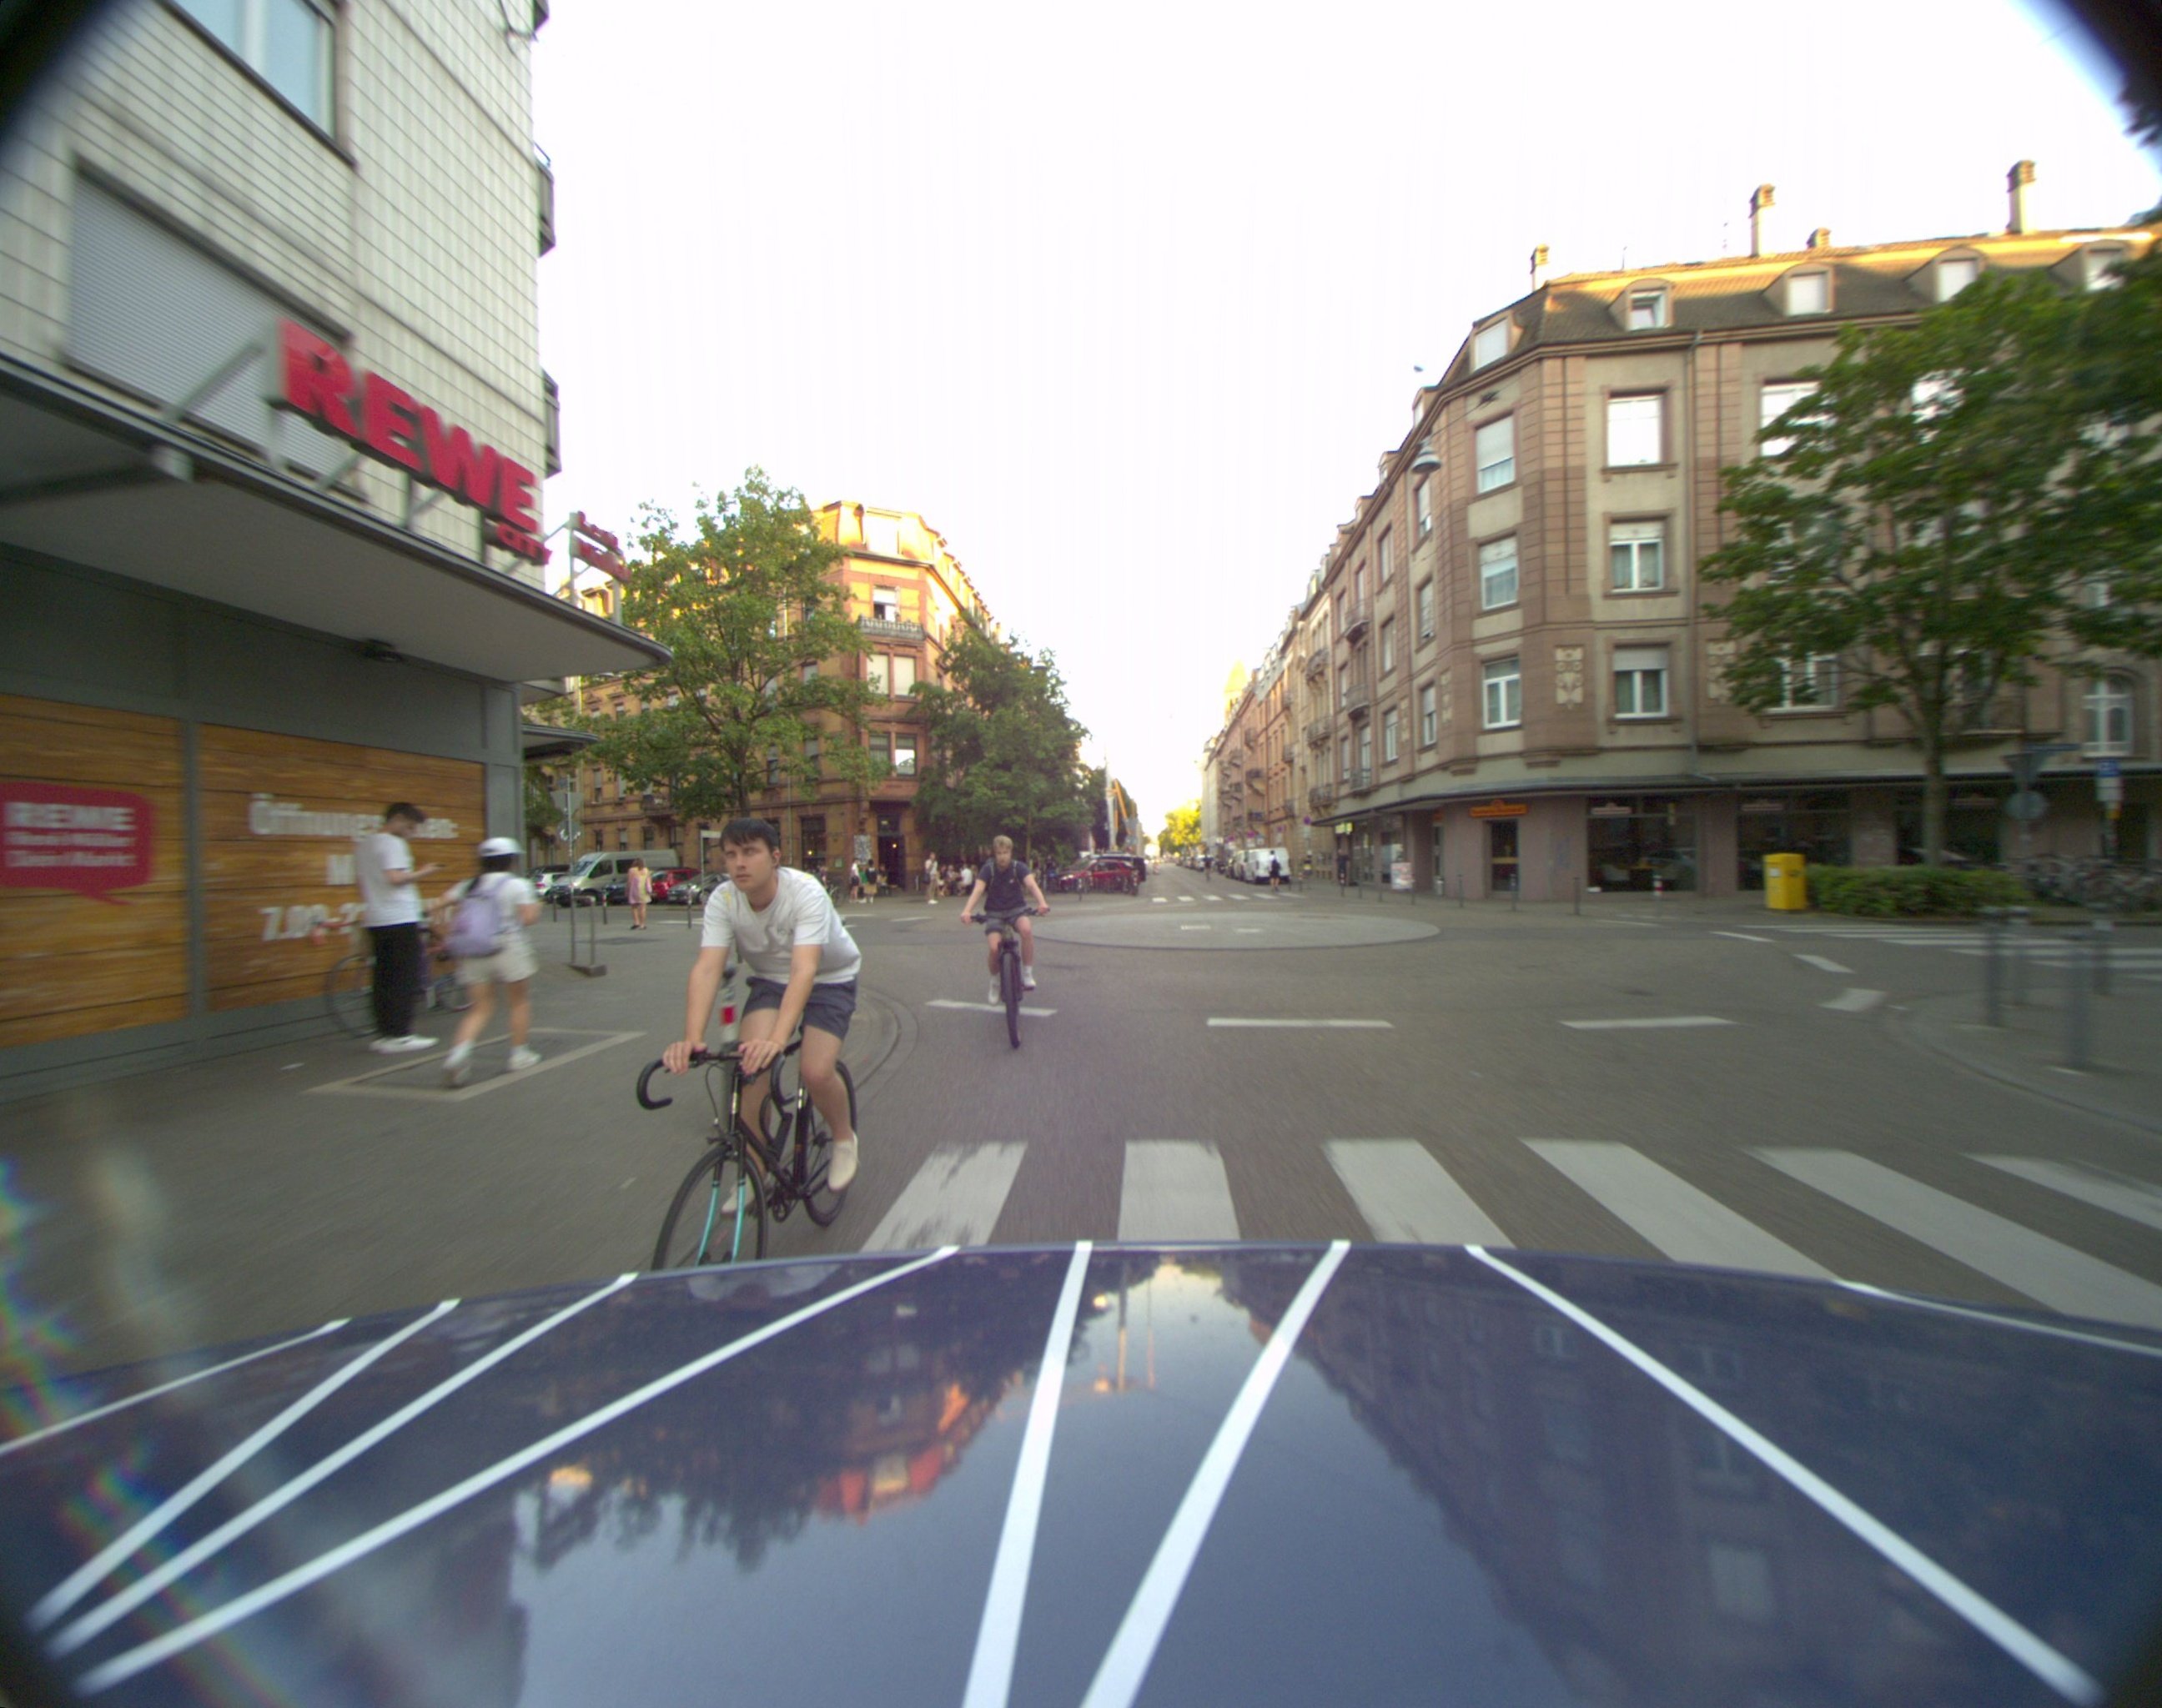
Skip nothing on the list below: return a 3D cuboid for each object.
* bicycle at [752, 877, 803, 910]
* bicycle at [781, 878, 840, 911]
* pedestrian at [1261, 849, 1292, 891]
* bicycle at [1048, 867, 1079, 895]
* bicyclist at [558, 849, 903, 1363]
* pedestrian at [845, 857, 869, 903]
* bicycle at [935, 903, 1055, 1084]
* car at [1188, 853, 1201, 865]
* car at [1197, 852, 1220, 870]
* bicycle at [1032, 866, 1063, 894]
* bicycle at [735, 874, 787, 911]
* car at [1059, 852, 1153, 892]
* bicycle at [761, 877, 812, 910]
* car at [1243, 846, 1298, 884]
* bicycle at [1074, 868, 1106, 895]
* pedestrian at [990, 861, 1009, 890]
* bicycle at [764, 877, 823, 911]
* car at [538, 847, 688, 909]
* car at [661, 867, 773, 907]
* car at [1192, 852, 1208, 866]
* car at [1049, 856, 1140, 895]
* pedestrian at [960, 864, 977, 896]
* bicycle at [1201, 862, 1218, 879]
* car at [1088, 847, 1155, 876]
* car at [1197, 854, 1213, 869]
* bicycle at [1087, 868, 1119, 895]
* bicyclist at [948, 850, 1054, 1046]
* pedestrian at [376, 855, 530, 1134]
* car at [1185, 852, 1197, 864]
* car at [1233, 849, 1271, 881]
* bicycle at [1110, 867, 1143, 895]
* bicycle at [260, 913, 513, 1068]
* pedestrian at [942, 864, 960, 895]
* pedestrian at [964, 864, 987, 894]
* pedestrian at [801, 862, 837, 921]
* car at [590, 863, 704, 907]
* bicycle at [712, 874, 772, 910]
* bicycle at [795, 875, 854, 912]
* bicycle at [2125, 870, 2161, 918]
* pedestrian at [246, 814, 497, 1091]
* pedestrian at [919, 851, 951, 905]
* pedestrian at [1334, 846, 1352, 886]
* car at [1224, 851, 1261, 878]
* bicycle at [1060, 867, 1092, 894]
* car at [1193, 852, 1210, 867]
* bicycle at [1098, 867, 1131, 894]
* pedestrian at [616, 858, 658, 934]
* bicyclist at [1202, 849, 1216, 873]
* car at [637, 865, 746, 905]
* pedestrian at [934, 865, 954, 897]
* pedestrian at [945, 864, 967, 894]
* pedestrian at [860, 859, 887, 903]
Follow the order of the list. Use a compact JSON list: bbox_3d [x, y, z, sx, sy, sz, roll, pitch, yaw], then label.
[{"bbox_3d":[-11.304,1.446,28.332,0.711,1.072,1.886,-2,1,16],"label":"bicycle"},{"bbox_3d":[-9.574,1.417,26.942,0.711,1.045,1.887,-1,1,32],"label":"bicycle"},{"bbox_3d":[8.421,0.683,32.718,0.747,1.733,1.215,-2,1,43],"label":"pedestrian"},{"bbox_3d":[-0.798,1.161,33.556,0.666,1.158,2.112,1,0,-22],"label":"bicycle"},{"bbox_3d":[-1.157,0.751,2.731,0.650,1.500,0.954,-2,1,8],"label":"bicyclist"},{"bbox_3d":[-8.585,0.997,29.180,0.674,1.735,0.640,-2,2,-4],"label":"pedestrian"},{"bbox_3d":[-0.651,1.067,6.578,0.794,1.132,2.343,-2,-1,-2],"label":"bicycle"},{"bbox_3d":[17.604,0.765,117.503,1.867,1.729,3.801,-2,1,9],"label":"car"},{"bbox_3d":[13.950,0.729,83.070,2.140,1.811,4.542,-2,0,6],"label":"car"},{"bbox_3d":[-1.487,1.140,33.306,0.666,1.158,2.112,1,0,-22],"label":"bicycle"},{"bbox_3d":[-11.905,1.398,28.320,0.711,1.232,1.886,-2,1,16],"label":"bicycle"},{"bbox_3d":[1.467,1.020,45.536,5.151,2.085,2.113,-2,1,-20],"label":"car"},{"bbox_3d":[-10.814,1.429,28.006,0.711,1.072,1.886,-2,1,16],"label":"bicycle"},{"bbox_3d":[10.554,0.561,42.628,2.140,1.946,4.771,-2,0,4],"label":"car"},{"bbox_3d":[0.376,1.203,34.096,0.666,1.125,2.112,1,0,-22],"label":"bicycle"},{"bbox_3d":[-3.724,0.979,34.738,0.721,1.297,0.750,-1,0,-14],"label":"pedestrian"},{"bbox_3d":[-10.271,1.420,27.226,0.711,1.052,1.887,-1,1,32],"label":"bicycle"},{"bbox_3d":[-21.518,1.008,35.238,2.115,2.443,5.496,-1,2,27],"label":"car"},{"bbox_3d":[-15.182,1.341,31.909,1.624,1.412,3.982,-1,1,30],"label":"car"},{"bbox_3d":[16.016,0.703,102.483,1.997,1.729,4.002,-2,1,9],"label":"car"},{"bbox_3d":[0.664,1.026,37.194,4.005,1.658,1.824,-2,1,-26],"label":"car"},{"bbox_3d":[-4.709,1.077,31.731,0.640,1.265,0.674,-2,1,-9],"label":"pedestrian"},{"bbox_3d":[8.831,1.109,52.313,0.754,1.124,1.976,-1,-1,0],"label":"bicycle"},{"bbox_3d":[3.495,0.621,65.719,5.151,2.182,2.334,-2,1,-20],"label":"car"},{"bbox_3d":[15.224,0.923,93.409,1.839,1.633,3.927,-2,1,9],"label":"car"},{"bbox_3d":[0.979,1.218,34.386,0.666,1.125,2.112,1,0,-22],"label":"bicycle"},{"bbox_3d":[-0.662,0.769,6.583,0.794,1.562,0.826,-2,0,-2],"label":"bicyclist"},{"bbox_3d":[-4.108,0.840,5.040,0.665,1.642,0.881,1,0,-33],"label":"pedestrian"},{"bbox_3d":[17.836,0.628,123.249,1.907,1.729,3.851,-2,1,9],"label":"car"},{"bbox_3d":[10.920,0.684,48.763,1.878,1.892,4.328,-2,0,6],"label":"car"},{"bbox_3d":[2.059,1.219,34.630,0.666,1.162,2.112,1,0,-22],"label":"bicycle"},{"bbox_3d":[-5.976,1.116,6.698,0.457,1.018,1.783,-2,1,4],"label":"bicycle"},{"bbox_3d":[-5.489,1.077,32.113,0.675,1.265,0.640,-2,1,-10],"label":"pedestrian"},{"bbox_3d":[-4.588,1.072,33.083,0.639,1.265,0.676,-1,2,44],"label":"pedestrian"},{"bbox_3d":[-7.203,1.015,20.917,0.538,1.597,0.870,0,-1,17],"label":"pedestrian"},{"bbox_3d":[-19.288,1.332,33.923,1.759,1.653,3.982,-1,2,30],"label":"car"},{"bbox_3d":[-12.734,1.402,28.602,0.710,1.232,1.888,-1,2,38],"label":"bicycle"},{"bbox_3d":[-8.959,1.352,26.589,0.711,1.148,1.887,-1,1,32],"label":"bicycle"},{"bbox_3d":[21.510,0.759,14.791,1.487,0.890,0.477,-2,1,9],"label":"bicycle"},{"bbox_3d":[-5.374,0.679,5.854,0.762,1.901,1.190,1,0,6],"label":"pedestrian"},{"bbox_3d":[-5.270,0.855,27.437,0.673,1.858,0.911,-1,2,20],"label":"pedestrian"},{"bbox_3d":[11.946,0.536,34.606,0.654,1.768,0.693,-2,-1,23],"label":"pedestrian"},{"bbox_3d":[11.585,0.708,54.761,2.140,1.811,4.542,-2,0,6],"label":"car"},{"bbox_3d":[-0.250,1.180,33.794,0.666,1.125,2.112,1,0,-22],"label":"bicycle"},{"bbox_3d":[15.471,0.737,97.492,1.997,1.729,4.002,-2,1,9],"label":"car"},{"bbox_3d":[1.506,1.214,34.808,0.666,1.162,2.112,1,0,-22],"label":"bicycle"},{"bbox_3d":[-10.519,0.981,18.019,0.694,1.735,0.712,0,-1,-17],"label":"pedestrian"},{"bbox_3d":[8.811,0.491,52.316,0.754,1.630,1.201,-1,0,-1],"label":"bicyclist"},{"bbox_3d":[-17.078,1.316,33.505,1.624,1.494,3.982,-1,1,30],"label":"car"},{"bbox_3d":[-5.676,1.097,31.503,0.675,1.265,0.639,-3,2,-22],"label":"pedestrian"},{"bbox_3d":[-5.417,1.084,32.954,0.673,1.265,0.642,-1,2,32],"label":"pedestrian"},{"bbox_3d":[-7.882,1.018,28.892,0.673,1.628,0.642,-1,2,42],"label":"pedestrian"}]
